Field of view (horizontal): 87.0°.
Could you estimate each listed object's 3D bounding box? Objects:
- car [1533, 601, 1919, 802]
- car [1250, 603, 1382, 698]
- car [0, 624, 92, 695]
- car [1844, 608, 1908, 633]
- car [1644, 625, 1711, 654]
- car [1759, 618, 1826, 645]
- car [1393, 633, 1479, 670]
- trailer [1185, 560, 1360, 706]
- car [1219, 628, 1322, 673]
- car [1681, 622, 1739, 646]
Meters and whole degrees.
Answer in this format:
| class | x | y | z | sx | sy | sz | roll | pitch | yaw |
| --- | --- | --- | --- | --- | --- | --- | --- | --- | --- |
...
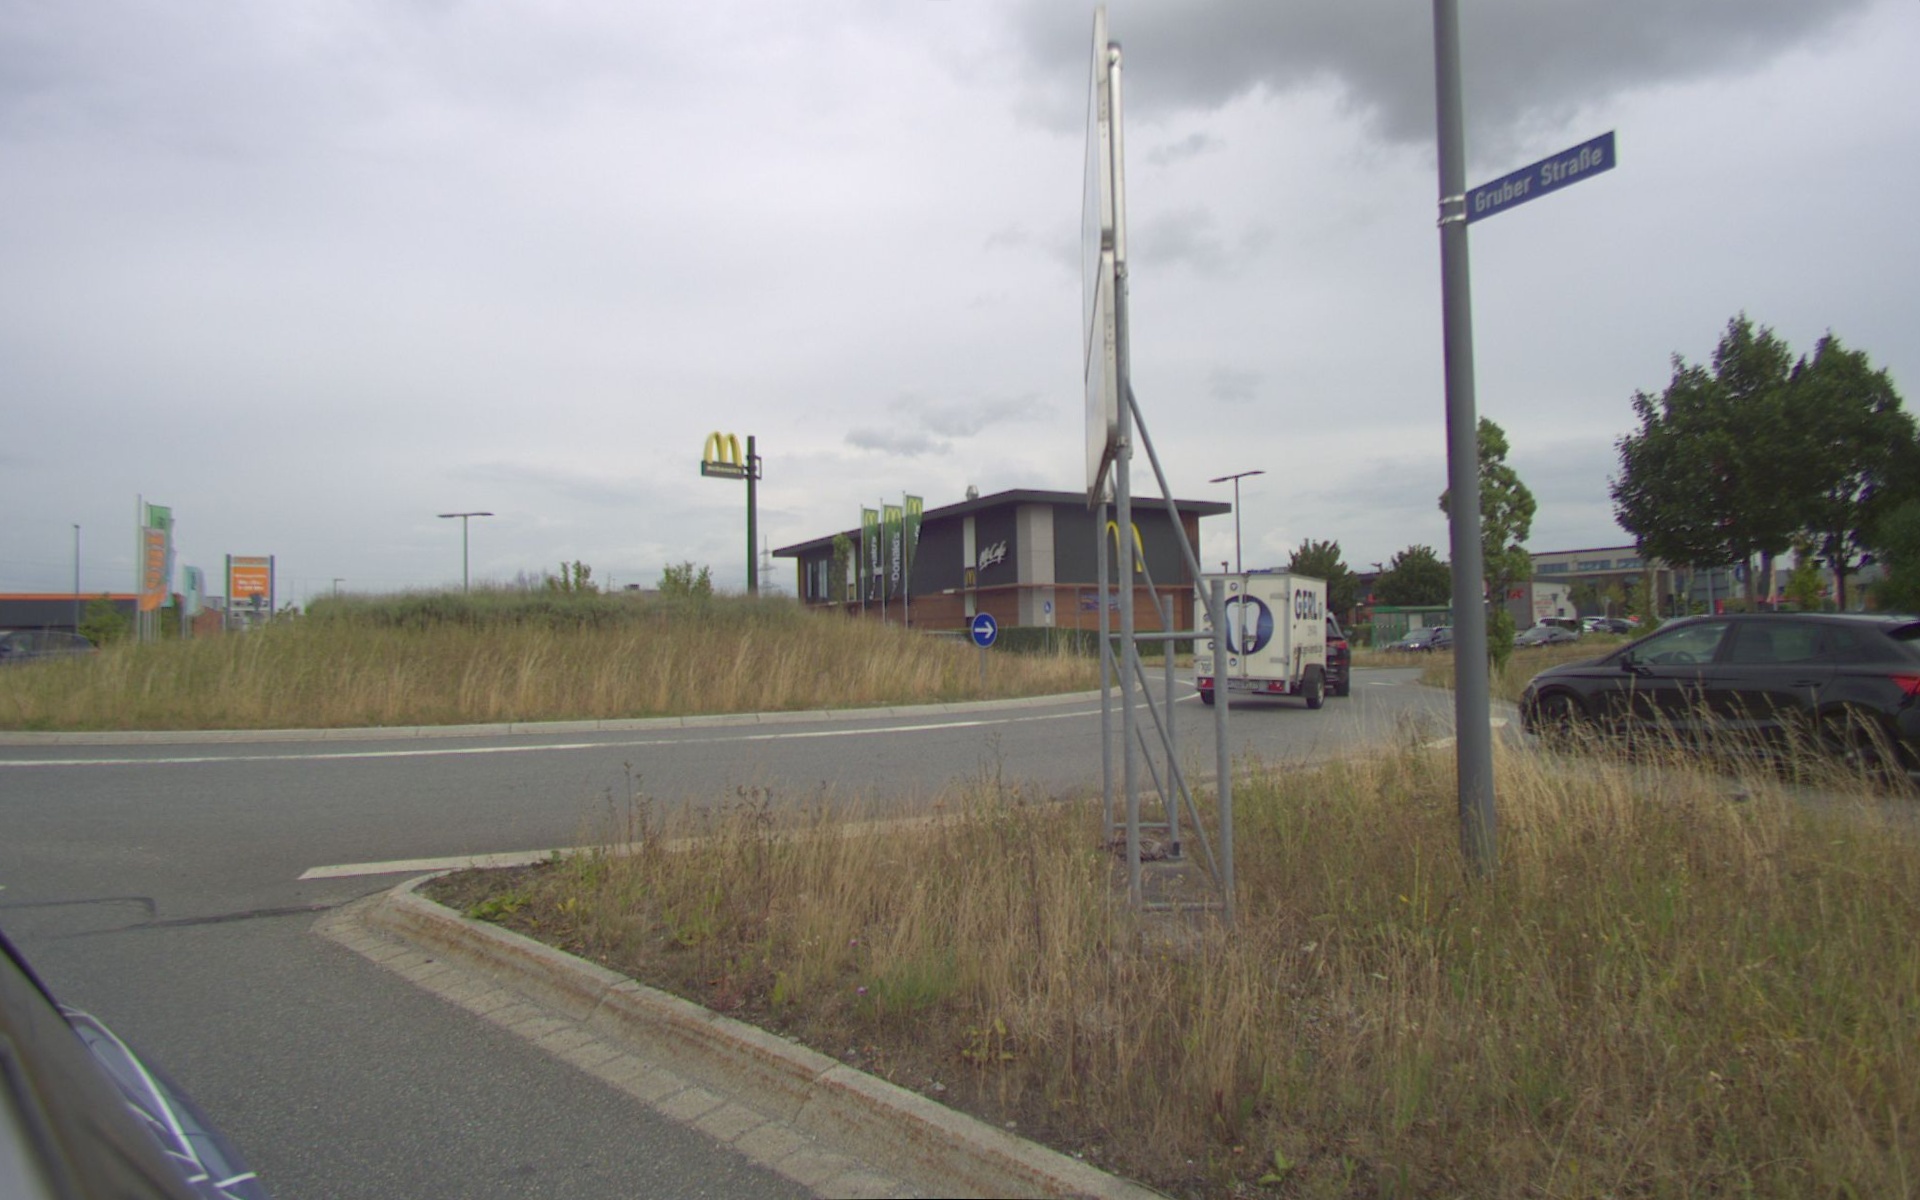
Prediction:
| class | x | y | z | sx | sy | sz | roll | pitch | yaw |
| --- | --- | --- | --- | --- | --- | --- | --- | --- | --- |
| car | 7.333 | 0.767 | 8.948 | 1.617 | 1.470 | 3.779 | -1 | -1 | -19 |
| car | 7.292 | 0.999 | 20.433 | 1.808 | 1.683 | 4.571 | -2 | -3 | 28 |
| car | -25.310 | 1.615 | 26.161 | 1.827 | 1.732 | 3.979 | -5 | -1 | 16 |
| car | 64.436 | 1.461 | 71.179 | 3.931 | 1.645 | 2.006 | -1 | -1 | -27 |
| car | 42.944 | 2.345 | 60.571 | 3.707 | 1.608 | 1.948 | -1 | -1 | -32 |
| car | 55.066 | 2.088 | 66.919 | 3.931 | 1.645 | 2.006 | -1 | -1 | -27 |
| car | 22.196 | 2.364 | 47.147 | 3.773 | 1.576 | 1.841 | -1 | -1 | -32 |
| trailer | 5.306 | 0.552 | 16.835 | 1.806 | 2.107 | 4.101 | -2 | -3 | 32 |
| car | 12.987 | 2.069 | 42.280 | 3.950 | 1.671 | 1.902 | -1 | -1 | -30 |
| car | 67.406 | 3.019 | 90.992 | 1.619 | 2.029 | 3.784 | -1 | -1 | -23 |
